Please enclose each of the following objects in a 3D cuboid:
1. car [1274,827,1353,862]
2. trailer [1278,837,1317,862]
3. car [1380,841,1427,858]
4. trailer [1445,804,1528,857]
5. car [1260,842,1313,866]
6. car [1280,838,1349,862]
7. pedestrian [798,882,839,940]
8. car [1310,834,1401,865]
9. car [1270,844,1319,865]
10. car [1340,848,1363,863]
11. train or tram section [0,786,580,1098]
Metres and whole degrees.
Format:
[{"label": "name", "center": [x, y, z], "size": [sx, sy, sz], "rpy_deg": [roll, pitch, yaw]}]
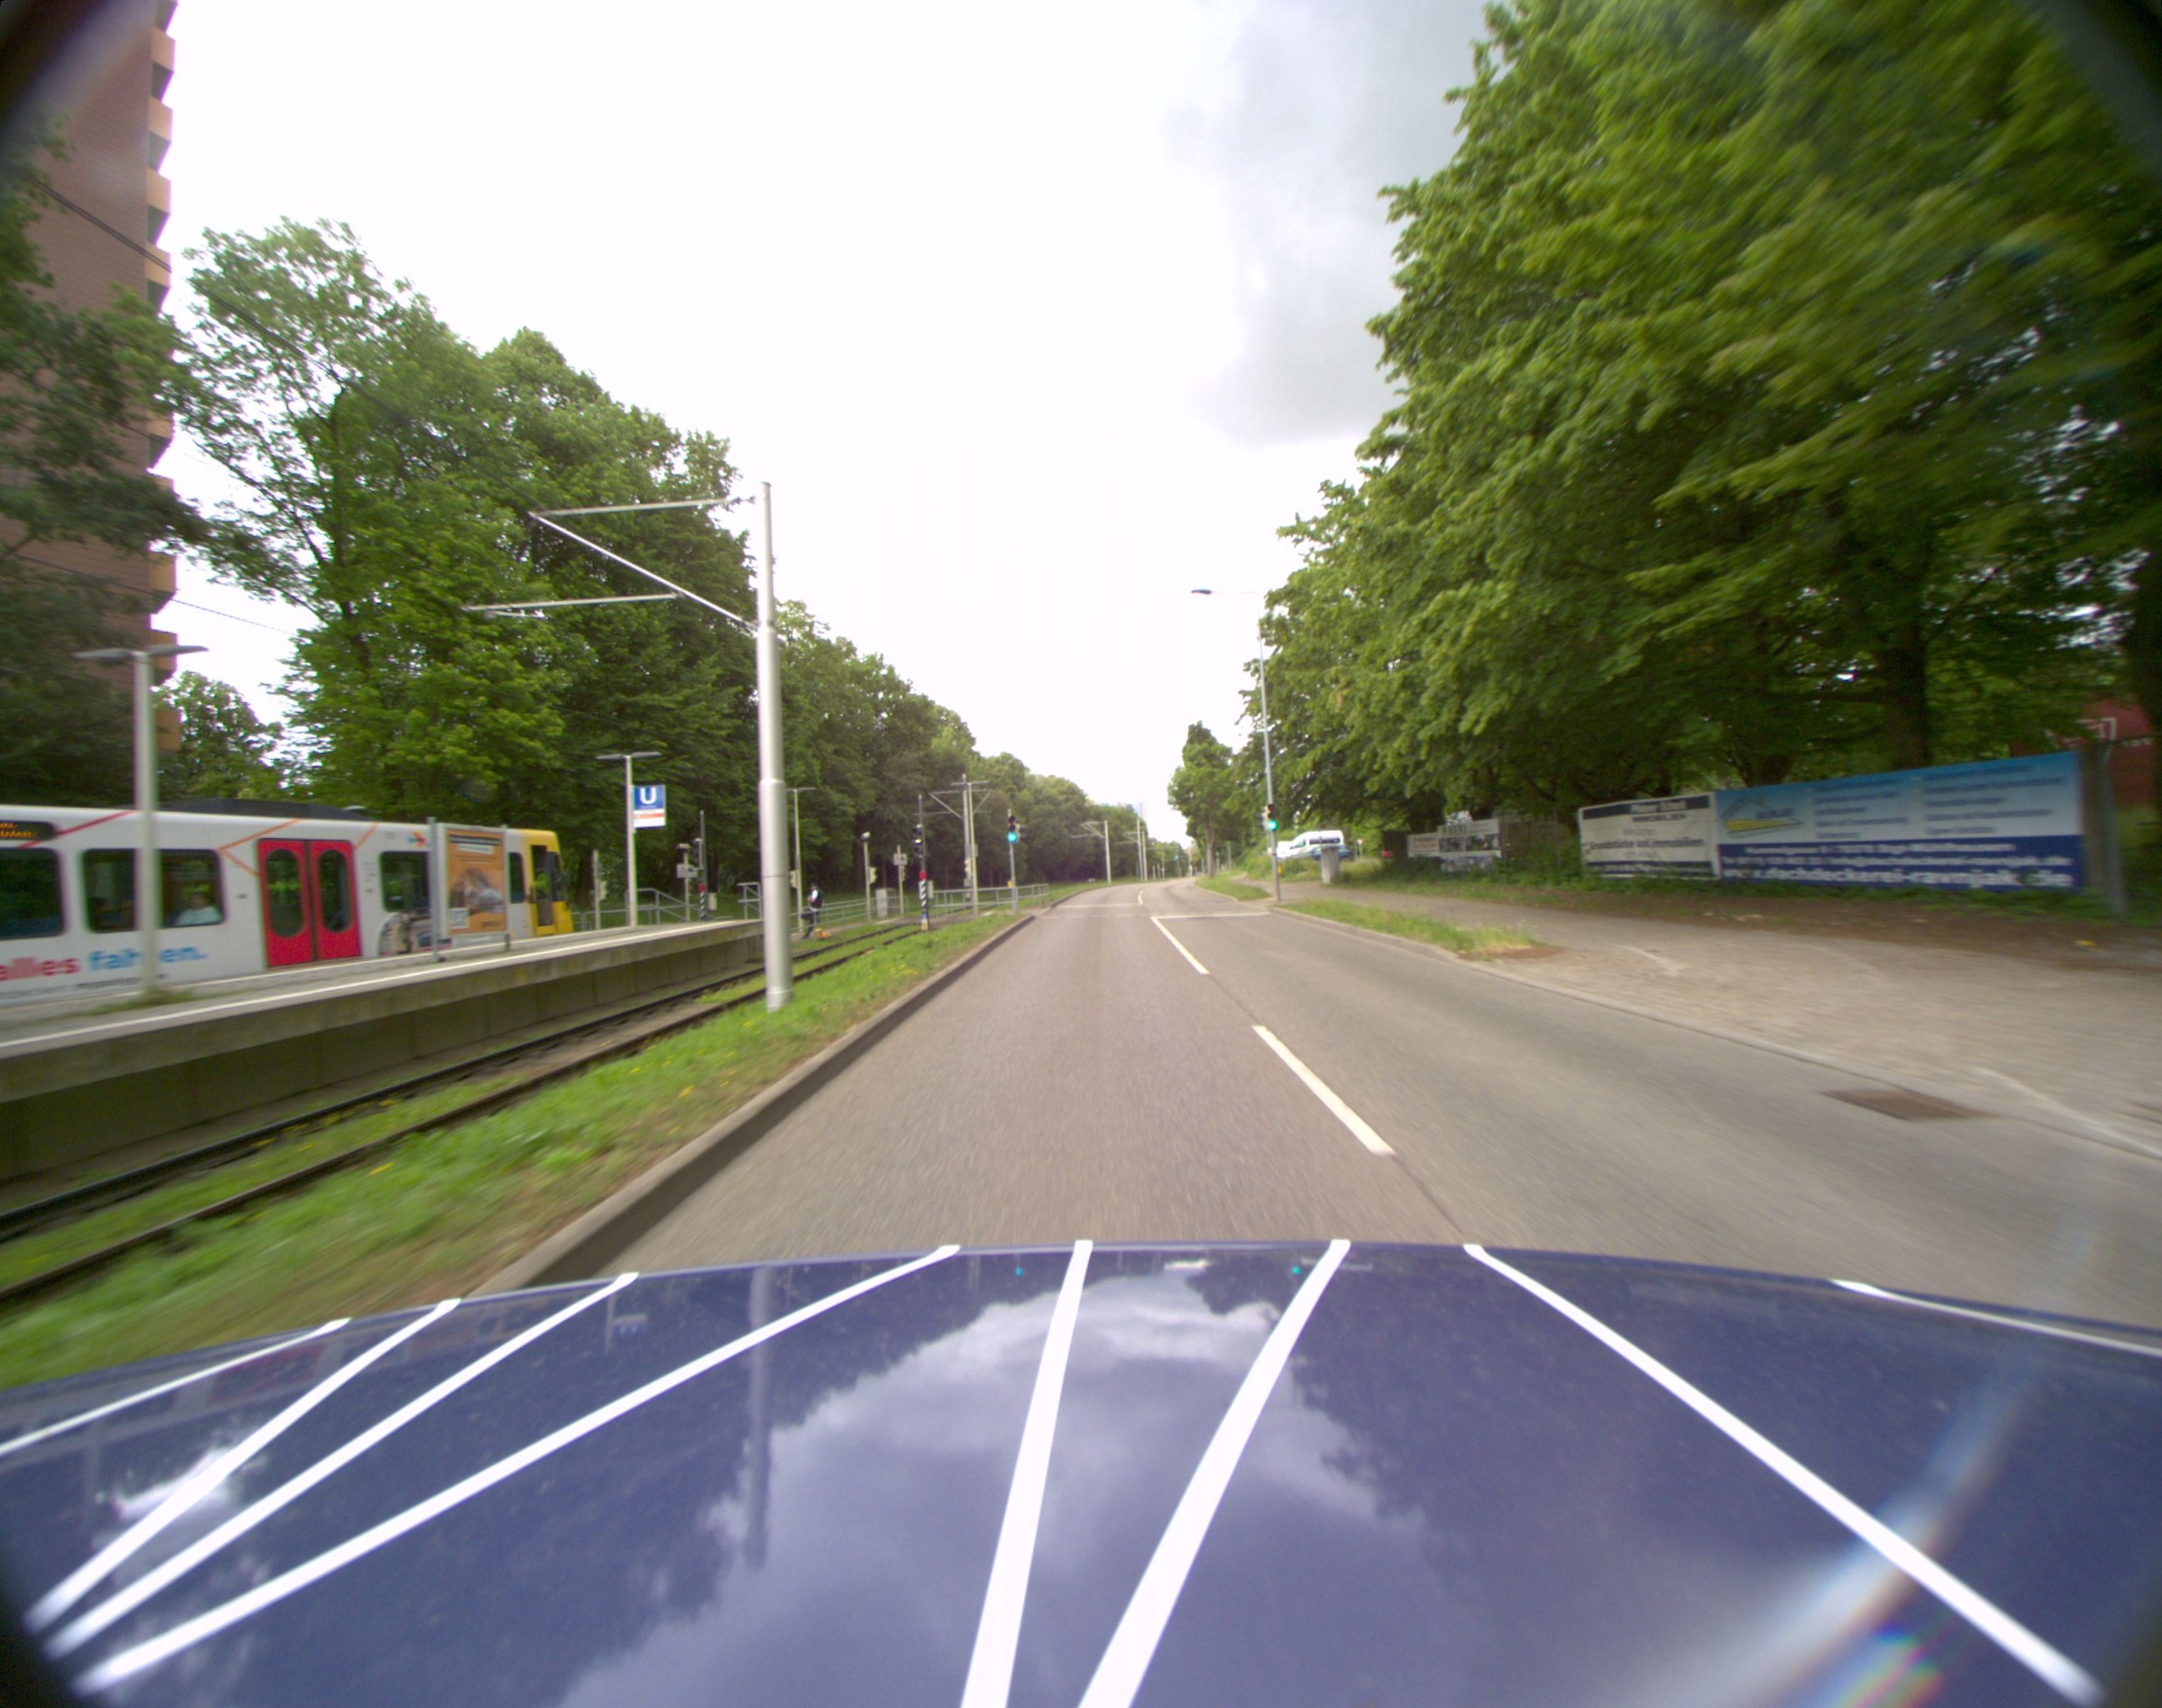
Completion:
[{"label": "car", "center": [16.985, -0.640, 55.832], "size": [5.165, 2.093, 2.217], "rpy_deg": [-4, -2, 10]}, {"label": "trailer", "center": [19.944, -0.367, 70.111], "size": [3.371, 2.045, 1.680], "rpy_deg": [-3, -1, 15]}, {"label": "car", "center": [32.927, -0.409, 77.779], "size": [4.106, 1.408, 1.904], "rpy_deg": [-5, -2, 14]}, {"label": "trailer", "center": [26.873, -1.468, 50.736], "size": [2.653, 3.056, 7.201], "rpy_deg": [-4, -1, 11]}, {"label": "car", "center": [16.641, 0.021, 61.580], "size": [4.040, 1.538, 2.003], "rpy_deg": [-5, -2, 15]}, {"label": "car", "center": [16.198, -0.247, 52.829], "size": [4.385, 1.308, 1.564], "rpy_deg": [-4, -2, 10]}, {"label": "pedestrian", "center": [-8.373, 1.812, 24.234], "size": [0.987, 1.747, 0.729], "rpy_deg": [-4, -1, -6]}, {"label": "car", "center": [17.501, -0.252, 48.718], "size": [5.165, 1.552, 1.888], "rpy_deg": [-4, -2, 10]}, {"label": "car", "center": [18.987, 0.057, 67.795], "size": [4.040, 1.574, 2.003], "rpy_deg": [-5, -2, 15]}, {"label": "car", "center": [30.887, 0.190, 86.977], "size": [1.997, 1.408, 4.053], "rpy_deg": [-4, -2, 14]}, {"label": "train or tram section", "center": [-14.315, 1.144, 9.123], "size": [2.819, 3.714, 18.539], "rpy_deg": [-4, -1, 5]}]
